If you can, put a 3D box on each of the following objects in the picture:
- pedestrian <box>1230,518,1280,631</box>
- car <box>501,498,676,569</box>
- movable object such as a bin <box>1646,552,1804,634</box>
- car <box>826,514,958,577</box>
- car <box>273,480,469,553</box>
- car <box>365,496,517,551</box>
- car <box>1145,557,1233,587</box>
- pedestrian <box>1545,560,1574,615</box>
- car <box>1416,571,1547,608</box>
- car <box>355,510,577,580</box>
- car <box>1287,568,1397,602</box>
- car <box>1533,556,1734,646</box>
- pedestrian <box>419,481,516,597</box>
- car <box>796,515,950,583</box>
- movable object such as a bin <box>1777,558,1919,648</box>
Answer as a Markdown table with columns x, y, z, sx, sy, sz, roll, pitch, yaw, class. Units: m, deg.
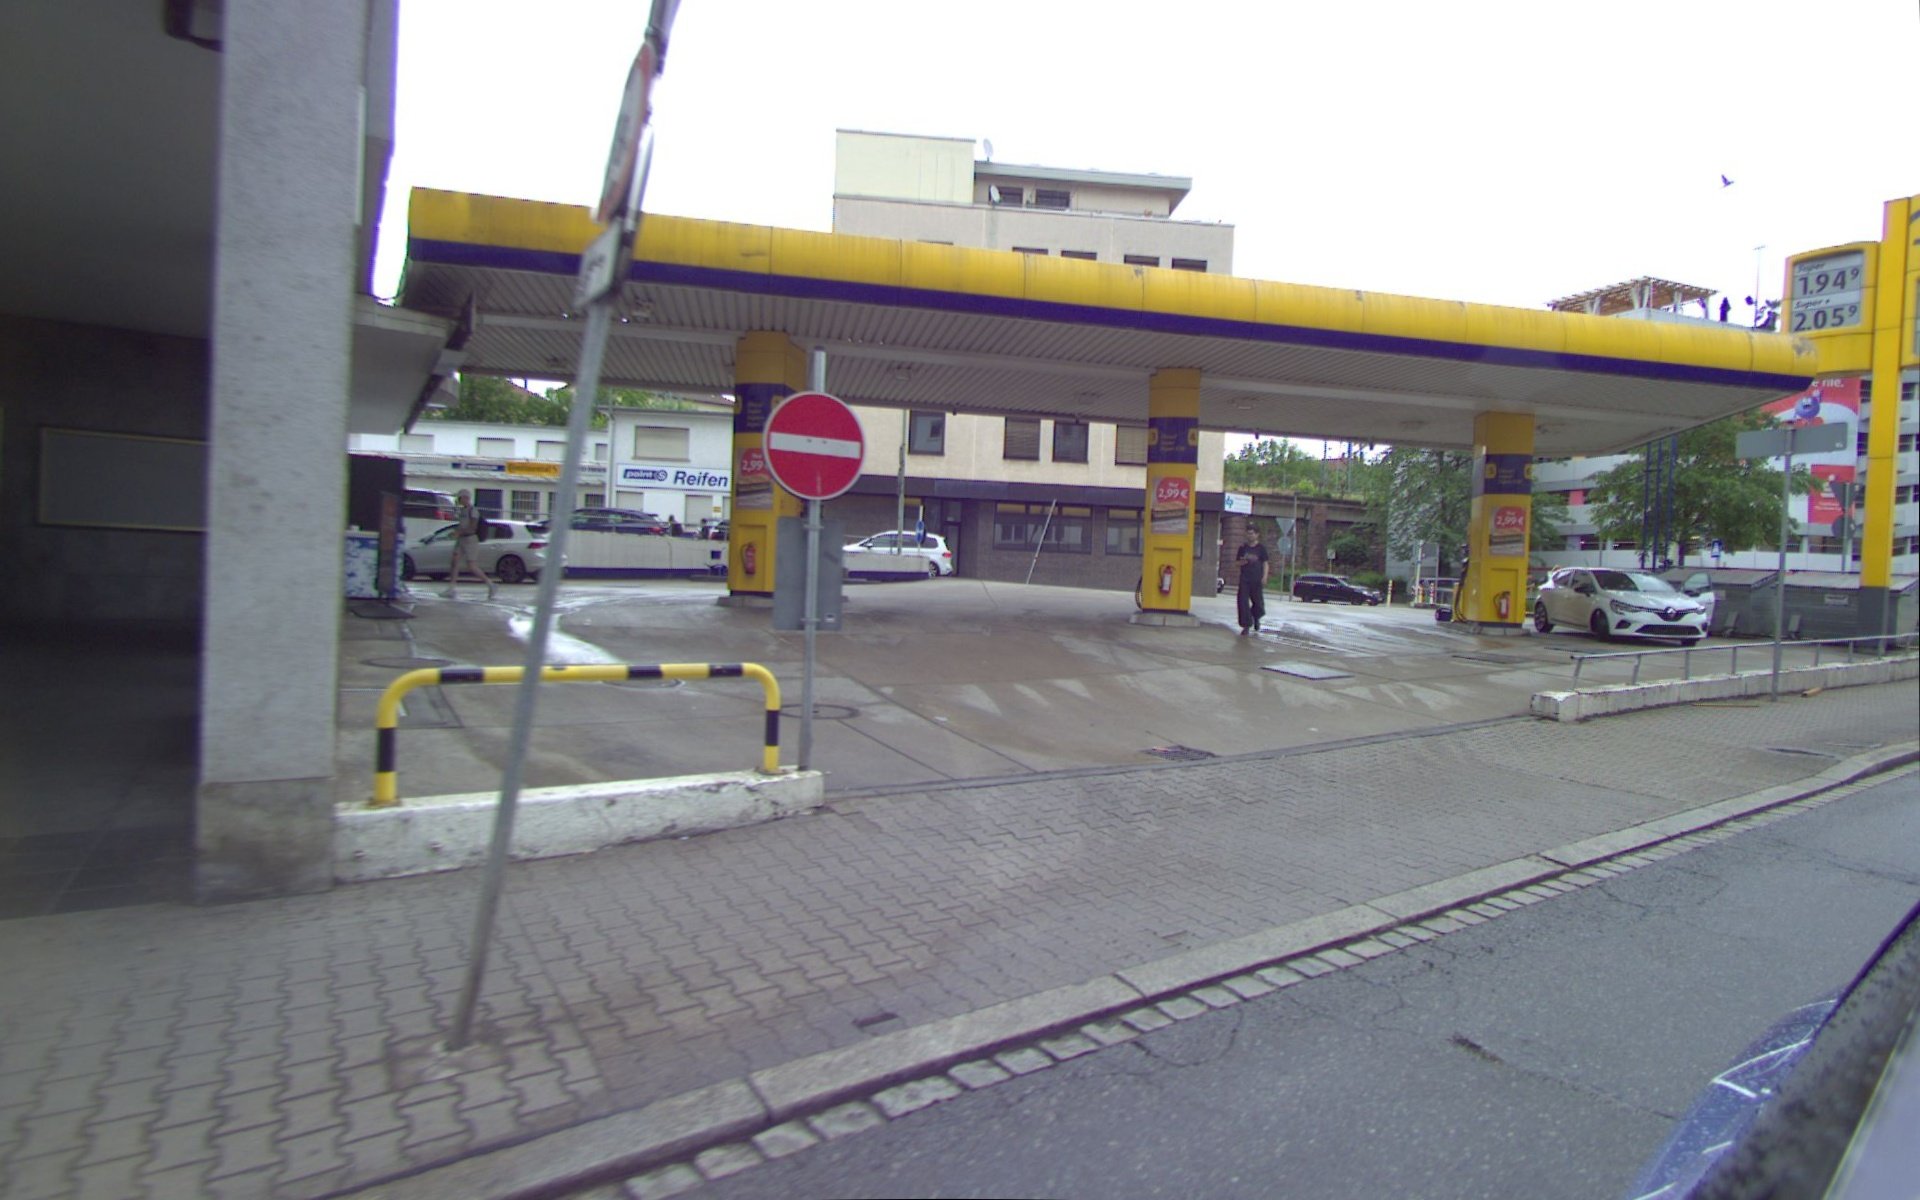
| x | y | z | sx | sy | sz | roll | pitch | yaw | class |
| --- | --- | --- | --- | --- | --- | --- | --- | --- | --- |
| 4.856 | -0.427 | 16.669 | 0.650 | 1.792 | 0.528 | 4 | 4 | 14 | pedestrian |
| -10.894 | -1.930 | 29.952 | 4.488 | 1.888 | 2.002 | 1 | 0 | -5 | car |
| 16.473 | -0.174 | 21.841 | 1.738 | 1.574 | 2.165 | 1 | 4 | -33 | movable object such as a bin |
| -2.394 | -1.854 | 35.170 | 4.312 | 1.748 | 2.002 | 5 | 0 | -6 | car |
| -17.027 | -2.393 | 29.448 | 4.488 | 1.888 | 2.002 | 1 | 0 | -5 | car |
| -17.392 | -2.548 | 34.083 | 4.125 | 1.496 | 1.808 | 2 | -1 | -5 | car |
| 13.608 | -1.666 | 60.417 | 1.964 | 1.652 | 5.035 | 1 | 1 | -39 | car |
| 16.986 | -0.367 | 28.692 | 0.567 | 1.534 | 0.477 | 1 | 0 | 16 | pedestrian |
| 24.115 | -0.502 | 46.970 | 1.964 | 1.652 | 5.035 | 1 | 1 | -39 | car |
| -11.647 | -1.315 | 24.044 | 4.338 | 1.534 | 1.999 | 1 | 3 | 4 | car |
| 19.715 | -0.790 | 52.435 | 1.964 | 1.652 | 5.035 | 1 | 1 | -39 | car |
| 13.074 | -0.074 | 19.962 | 1.718 | 1.459 | 3.991 | 3 | 4 | 10 | car |
| -8.046 | -0.985 | 16.541 | 0.652 | 1.819 | 1.271 | 5 | 4 | 44 | pedestrian |
| -2.627 | -1.513 | 30.730 | 4.488 | 1.888 | 2.002 | 1 | 0 | -5 | car |
| 17.782 | 0.028 | 19.901 | 1.738 | 1.593 | 2.165 | 1 | 3 | -33 | movable object such as a bin |
